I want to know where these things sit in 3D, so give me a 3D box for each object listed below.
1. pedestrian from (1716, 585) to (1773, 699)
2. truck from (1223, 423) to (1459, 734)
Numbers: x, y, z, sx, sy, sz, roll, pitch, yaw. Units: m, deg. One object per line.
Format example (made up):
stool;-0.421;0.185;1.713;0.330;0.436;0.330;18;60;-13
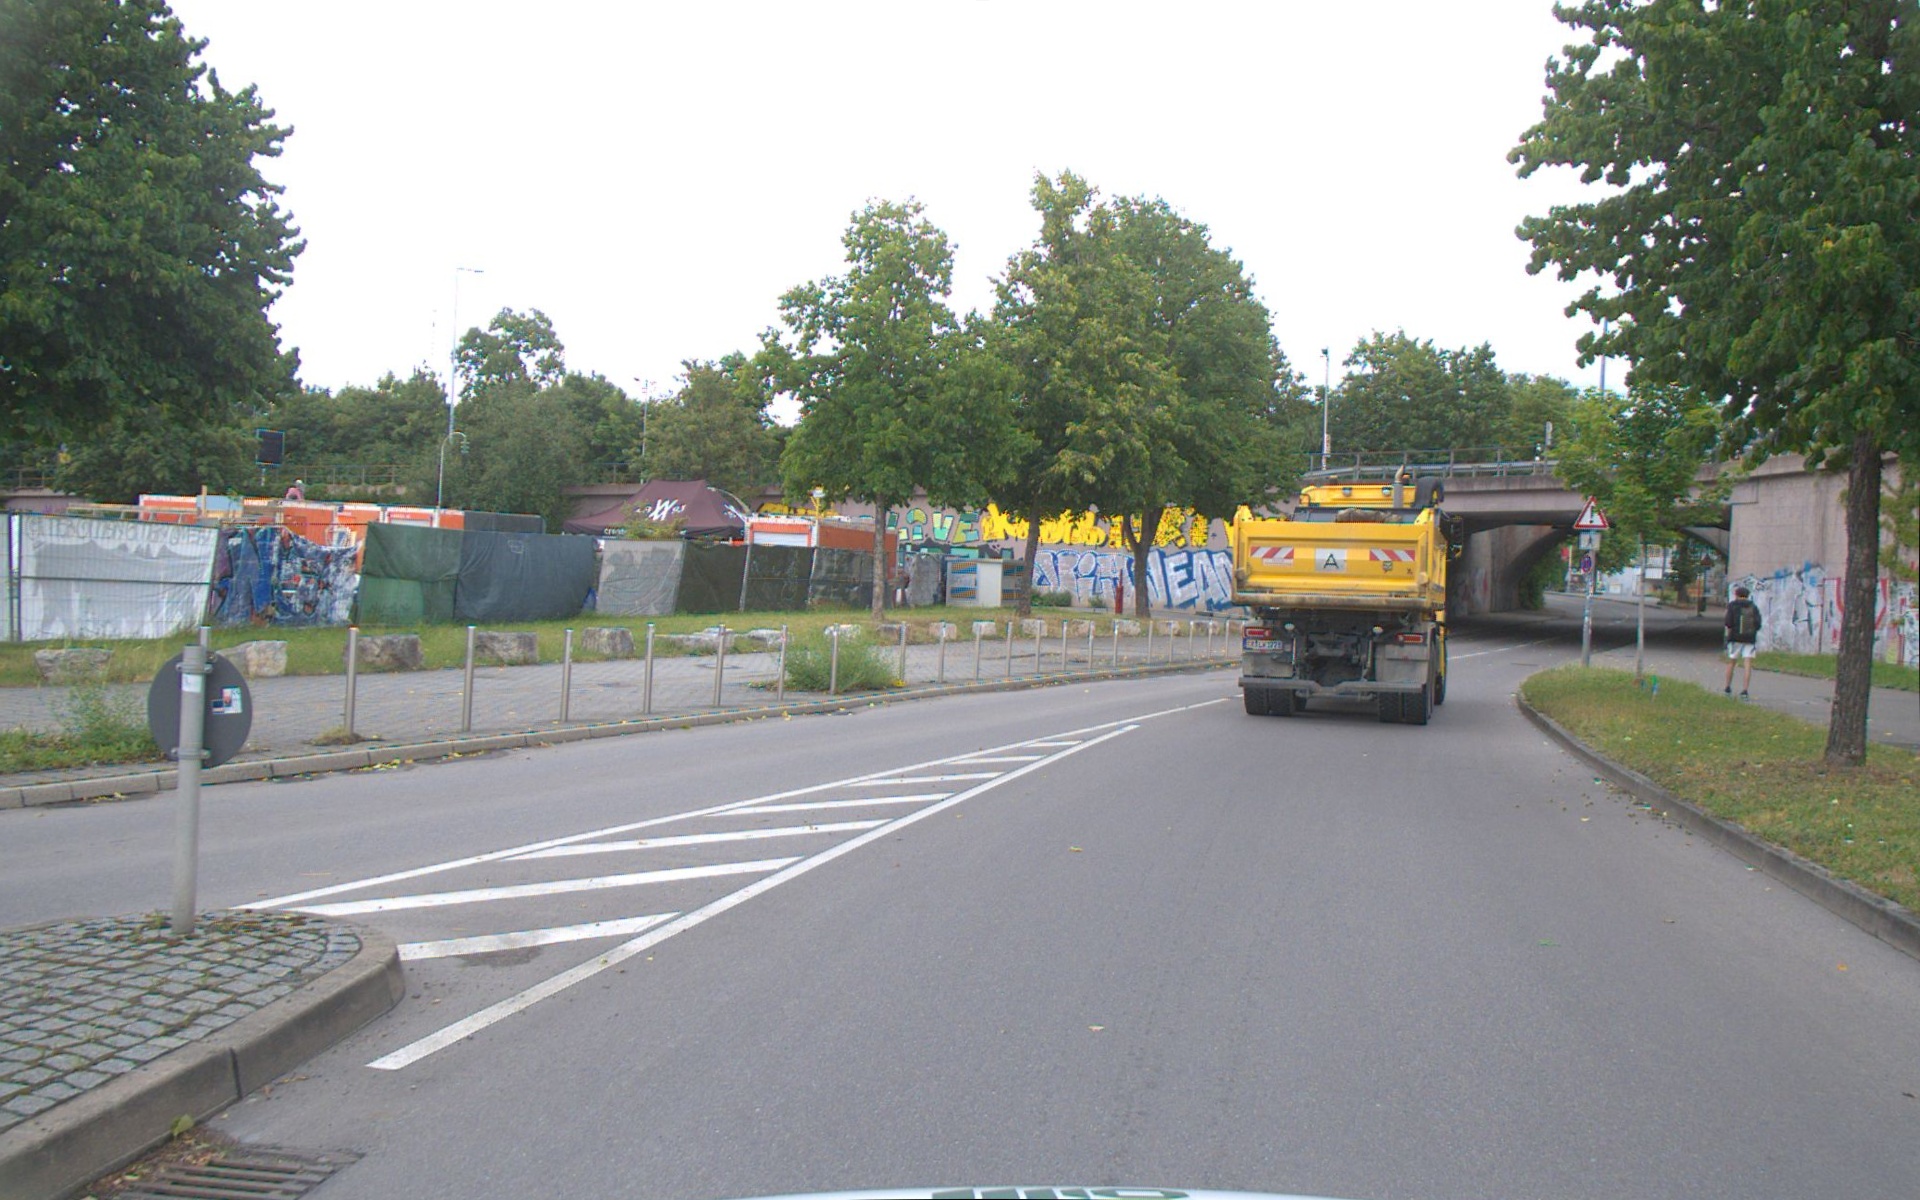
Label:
pedestrian;13.714;0.720;28.929;0.719;1.940;0.826;2;1;17
truck;5.869;-0.314;24.445;2.700;3.762;7.885;3;1;17
